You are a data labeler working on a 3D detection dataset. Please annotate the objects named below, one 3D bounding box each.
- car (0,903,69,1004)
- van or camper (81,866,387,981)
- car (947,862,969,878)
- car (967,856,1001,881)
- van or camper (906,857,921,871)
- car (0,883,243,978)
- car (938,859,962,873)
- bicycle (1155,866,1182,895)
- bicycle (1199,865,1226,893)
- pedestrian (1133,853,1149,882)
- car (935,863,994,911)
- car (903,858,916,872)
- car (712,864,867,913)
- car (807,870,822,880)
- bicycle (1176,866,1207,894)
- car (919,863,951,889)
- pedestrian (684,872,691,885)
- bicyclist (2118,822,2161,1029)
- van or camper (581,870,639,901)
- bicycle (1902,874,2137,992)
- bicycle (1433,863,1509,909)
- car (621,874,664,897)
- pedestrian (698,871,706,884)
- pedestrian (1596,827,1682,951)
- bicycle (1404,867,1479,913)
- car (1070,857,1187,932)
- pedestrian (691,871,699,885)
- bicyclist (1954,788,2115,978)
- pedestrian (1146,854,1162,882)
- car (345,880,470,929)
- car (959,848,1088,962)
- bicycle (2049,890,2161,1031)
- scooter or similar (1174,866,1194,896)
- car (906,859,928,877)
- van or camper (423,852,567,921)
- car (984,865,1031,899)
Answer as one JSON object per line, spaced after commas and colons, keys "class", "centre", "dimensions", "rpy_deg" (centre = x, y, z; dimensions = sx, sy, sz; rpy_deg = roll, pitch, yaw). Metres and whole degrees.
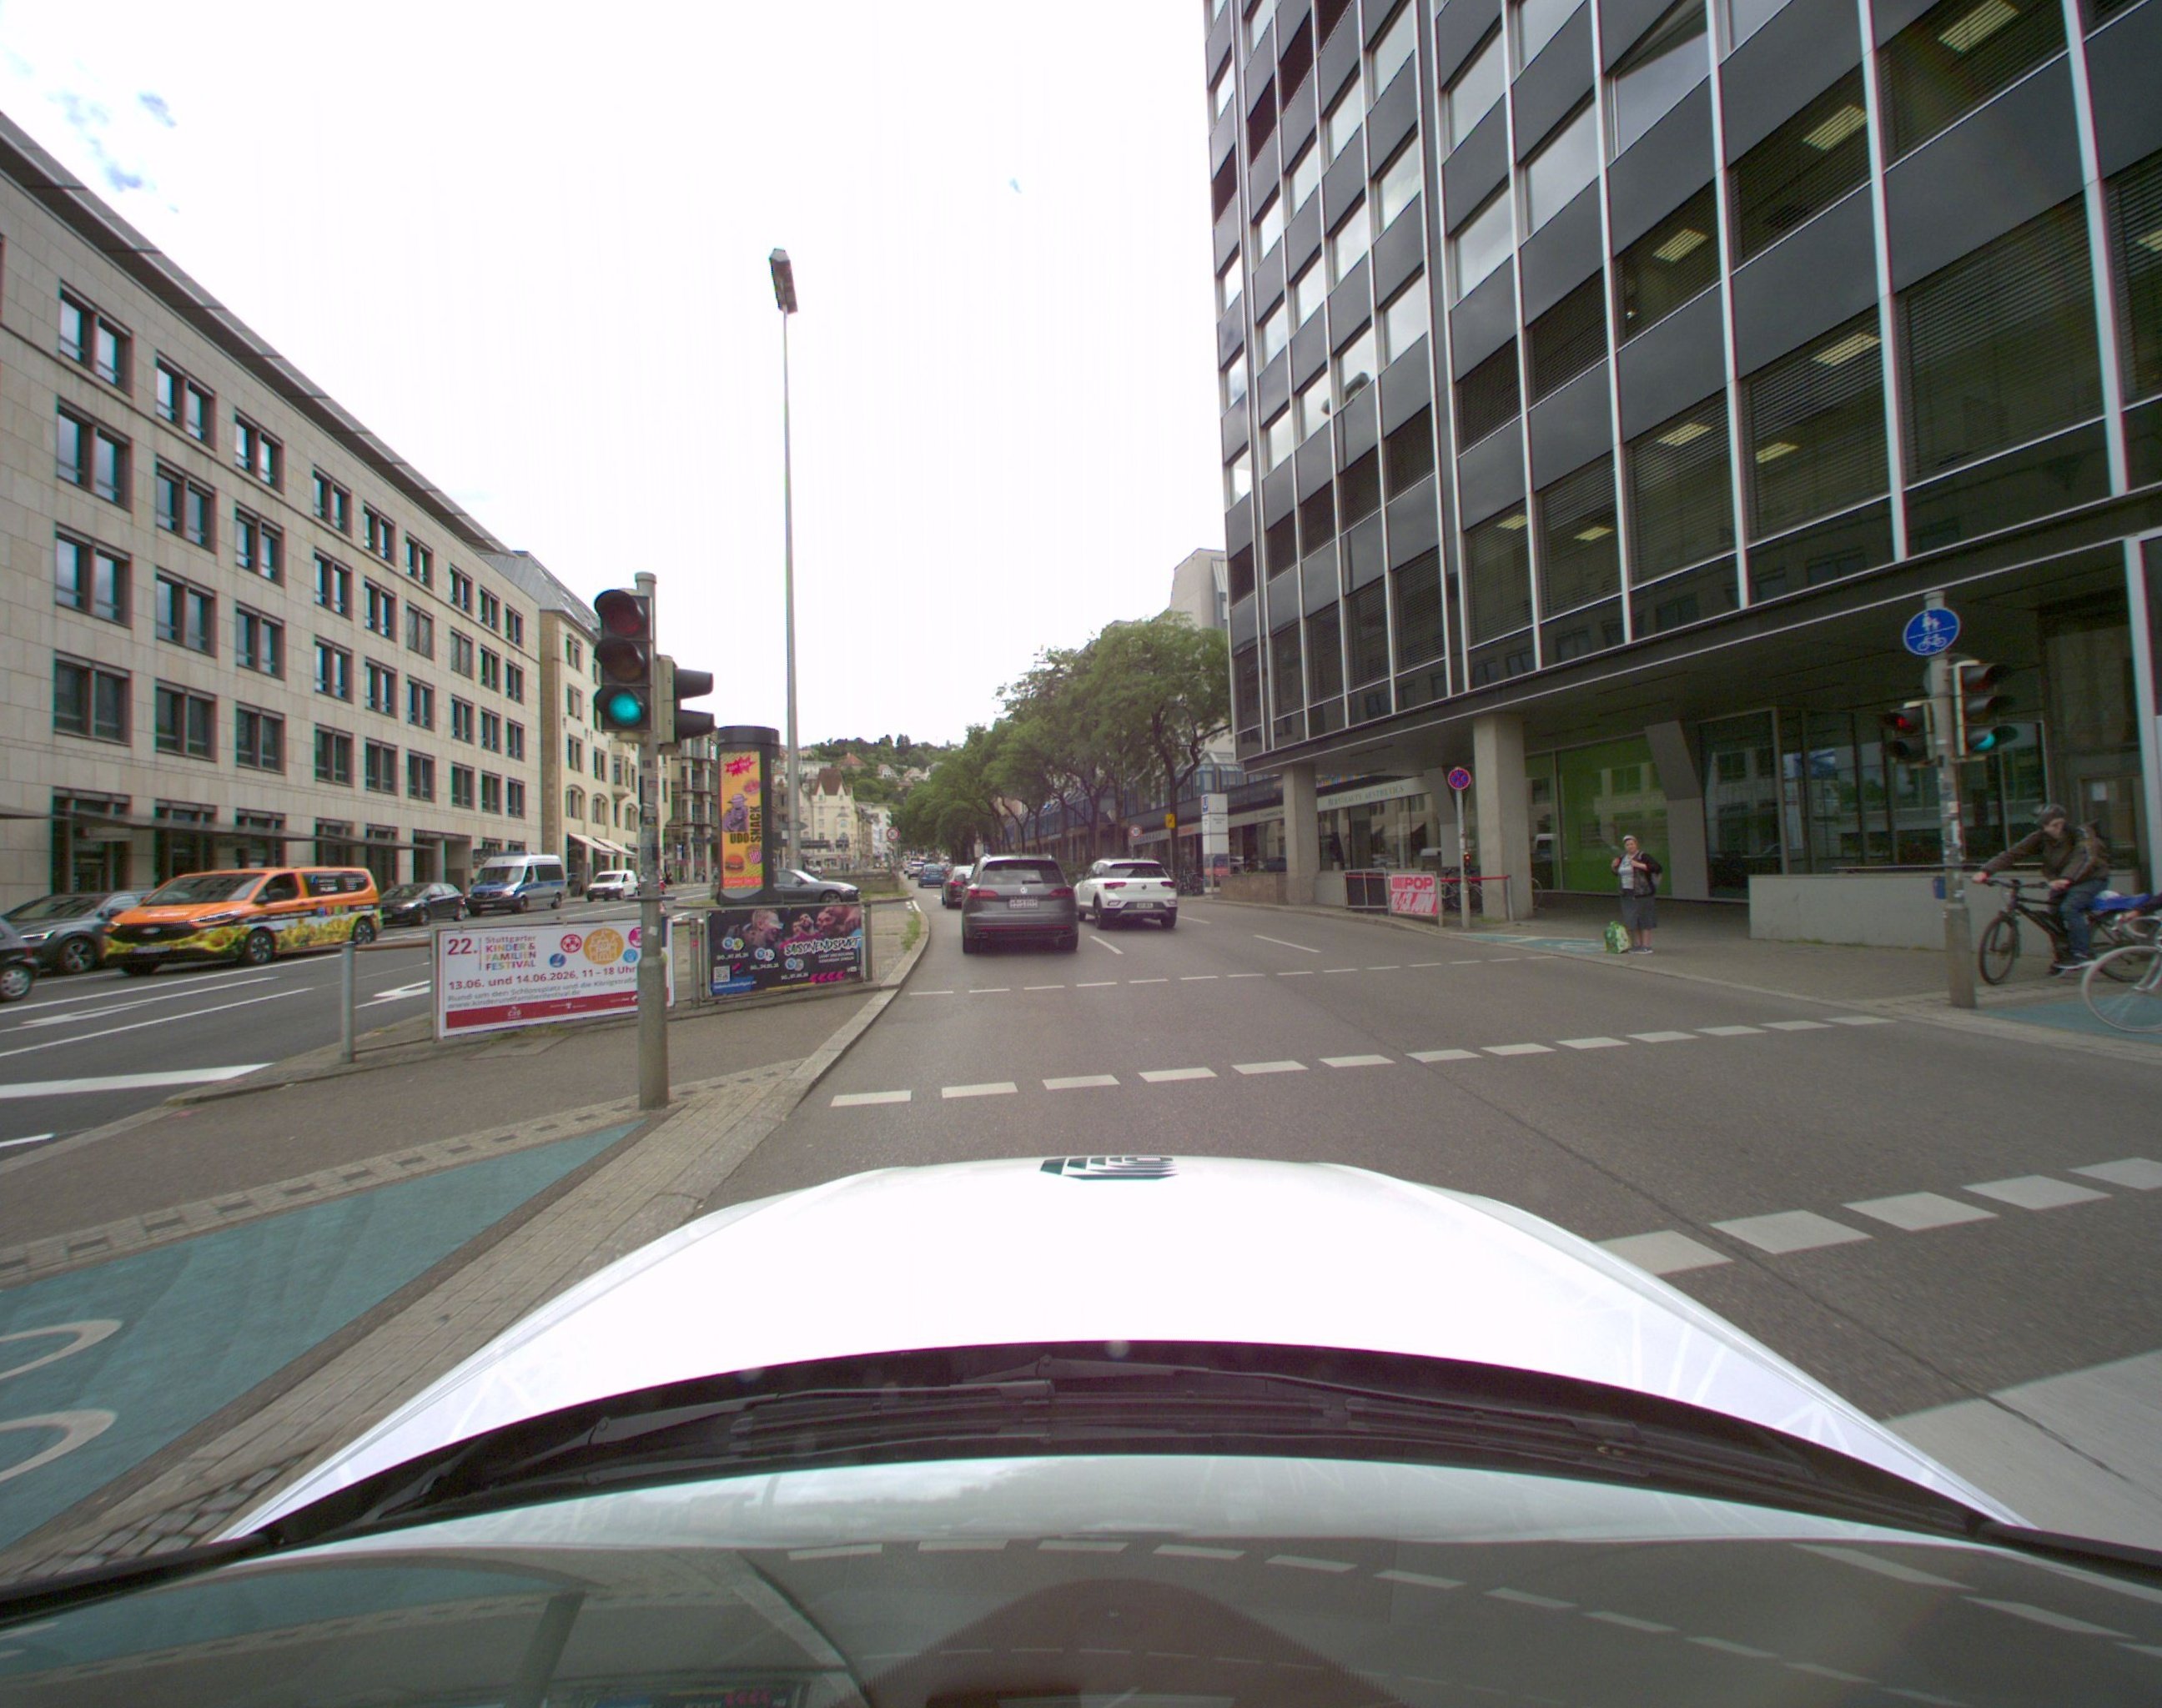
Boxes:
{"class": "car", "centre": [-15.903, 1.461, 10.518], "dimensions": [1.558, 1.379, 3.617], "rpy_deg": [-3, 0, -12]}
{"class": "van or camper", "centre": [-17.165, 1.267, 16.999], "dimensions": [1.915, 1.921, 5.059], "rpy_deg": [-3, 0, -13]}
{"class": "car", "centre": [-11.113, 1.415, 73.849], "dimensions": [1.831, 1.363, 3.756], "rpy_deg": [-3, 0, -8]}
{"class": "car", "centre": [-6.517, 0.994, 54.551], "dimensions": [1.834, 1.517, 3.749], "rpy_deg": [-3, -1, -13]}
{"class": "van or camper", "centre": [-38.228, 2.252, 186.137], "dimensions": [2.635, 3.178, 5.766], "rpy_deg": [-1, 0, -19]}
{"class": "car", "centre": [-20.876, 1.534, 17.326], "dimensions": [1.996, 1.645, 4.661], "rpy_deg": [-3, 0, -14]}
{"class": "car", "centre": [-14.336, 1.327, 88.824], "dimensions": [2.060, 1.418, 4.310], "rpy_deg": [-3, 0, -16]}
{"class": "bicycle", "centre": [3.666, 1.097, 34.098], "dimensions": [0.490, 1.132, 1.834], "rpy_deg": [-1, -1, -14]}
{"class": "bicycle", "centre": [5.535, 1.042, 34.300], "dimensions": [0.490, 1.132, 1.681], "rpy_deg": [-1, -1, -12]}
{"class": "pedestrian", "centre": [3.589, 0.806, 48.824], "dimensions": [0.597, 1.754, 0.935], "rpy_deg": [-2, 0, -19]}
{"class": "car", "centre": [-3.986, 1.067, 28.046], "dimensions": [1.832, 1.395, 4.136], "rpy_deg": [-1, 1, -8]}
{"class": "car", "centre": [-25.294, 1.595, 120.101], "dimensions": [1.833, 1.874, 4.850], "rpy_deg": [-3, -1, -12]}
{"class": "car", "centre": [-9.779, 1.125, 27.629], "dimensions": [4.544, 1.458, 1.877], "rpy_deg": [-2, -1, -6]}
{"class": "car", "centre": [-47.404, 3.741, 144.893], "dimensions": [1.994, 1.586, 4.868], "rpy_deg": [-2, -1, -11]}
{"class": "bicycle", "centre": [4.631, 1.074, 34.253], "dimensions": [0.491, 1.132, 1.875], "rpy_deg": [-1, -1, -19]}
{"class": "car", "centre": [-9.335, 1.358, 51.881], "dimensions": [1.834, 1.517, 3.750], "rpy_deg": [-3, -1, -13]}
{"class": "pedestrian", "centre": [-47.361, 2.925, 97.998], "dimensions": [0.702, 1.544, 0.841], "rpy_deg": [-1, -1, -21]}
{"class": "bicyclist", "centre": [8.513, 0.520, 6.083], "dimensions": [0.569, 1.549, 0.836], "rpy_deg": [-2, -2, -42]}
{"class": "van or camper", "centre": [-28.487, 1.863, 49.371], "dimensions": [1.871, 1.751, 4.464], "rpy_deg": [-1, -1, -14]}
{"class": "bicycle", "centre": [9.557, 0.776, 8.322], "dimensions": [1.759, 1.007, 0.679], "rpy_deg": [-3, 1, -6]}
{"class": "bicycle", "centre": [9.471, 0.758, 19.819], "dimensions": [0.717, 1.048, 1.470], "rpy_deg": [-1, -1, -34]}
{"class": "car", "centre": [-29.962, 2.143, 55.761], "dimensions": [1.790, 1.406, 3.564], "rpy_deg": [-2, 0, -15]}
{"class": "pedestrian", "centre": [-45.840, 2.862, 98.518], "dimensions": [0.702, 1.544, 0.841], "rpy_deg": [-1, -1, -21]}
{"class": "pedestrian", "centre": [8.078, 0.498, 11.812], "dimensions": [0.526, 1.712, 0.748], "rpy_deg": [-3, -2, -19]}
{"class": "bicycle", "centre": [8.668, 0.859, 19.615], "dimensions": [0.717, 1.048, 1.470], "rpy_deg": [-1, -1, -34]}
{"class": "car", "centre": [1.008, 0.859, 19.301], "dimensions": [1.799, 1.545, 3.919], "rpy_deg": [-1, 0, -12]}
{"class": "pedestrian", "centre": [-46.601, 2.890, 98.325], "dimensions": [0.702, 1.544, 0.841], "rpy_deg": [-1, -1, -21]}
{"class": "bicyclist", "centre": [9.748, 0.283, 8.353], "dimensions": [0.810, 1.846, 0.674], "rpy_deg": [-2, -1, -5]}
{"class": "pedestrian", "centre": [4.399, 0.830, 49.056], "dimensions": [0.597, 1.629, 0.752], "rpy_deg": [-2, 0, -19]}
{"class": "car", "centre": [-23.957, 1.729, 29.152], "dimensions": [1.771, 1.449, 4.011], "rpy_deg": [-3, 0, -13]}
{"class": "car", "centre": [-1.192, 0.809, 14.992], "dimensions": [1.969, 1.695, 4.212], "rpy_deg": [-3, 0, -8]}
{"class": "bicycle", "centre": [8.547, 0.795, 6.064], "dimensions": [0.585, 1.027, 1.649], "rpy_deg": [-2, -2, -42]}
{"class": "scooter or similar", "centre": [4.272, 1.119, 33.816], "dimensions": [0.307, 1.251, 0.988], "rpy_deg": [-1, -1, -26]}
{"class": "car", "centre": [-15.798, 1.367, 78.376], "dimensions": [1.836, 1.567, 3.747], "rpy_deg": [-2, -1, -15]}
{"class": "van or camper", "centre": [-25.947, 1.357, 36.493], "dimensions": [3.005, 2.726, 6.217], "rpy_deg": [-1, -1, -13]}
{"class": "car", "centre": [-3.683, 1.334, 40.096], "dimensions": [1.835, 1.432, 4.130], "rpy_deg": [-1, 1, -12]}
